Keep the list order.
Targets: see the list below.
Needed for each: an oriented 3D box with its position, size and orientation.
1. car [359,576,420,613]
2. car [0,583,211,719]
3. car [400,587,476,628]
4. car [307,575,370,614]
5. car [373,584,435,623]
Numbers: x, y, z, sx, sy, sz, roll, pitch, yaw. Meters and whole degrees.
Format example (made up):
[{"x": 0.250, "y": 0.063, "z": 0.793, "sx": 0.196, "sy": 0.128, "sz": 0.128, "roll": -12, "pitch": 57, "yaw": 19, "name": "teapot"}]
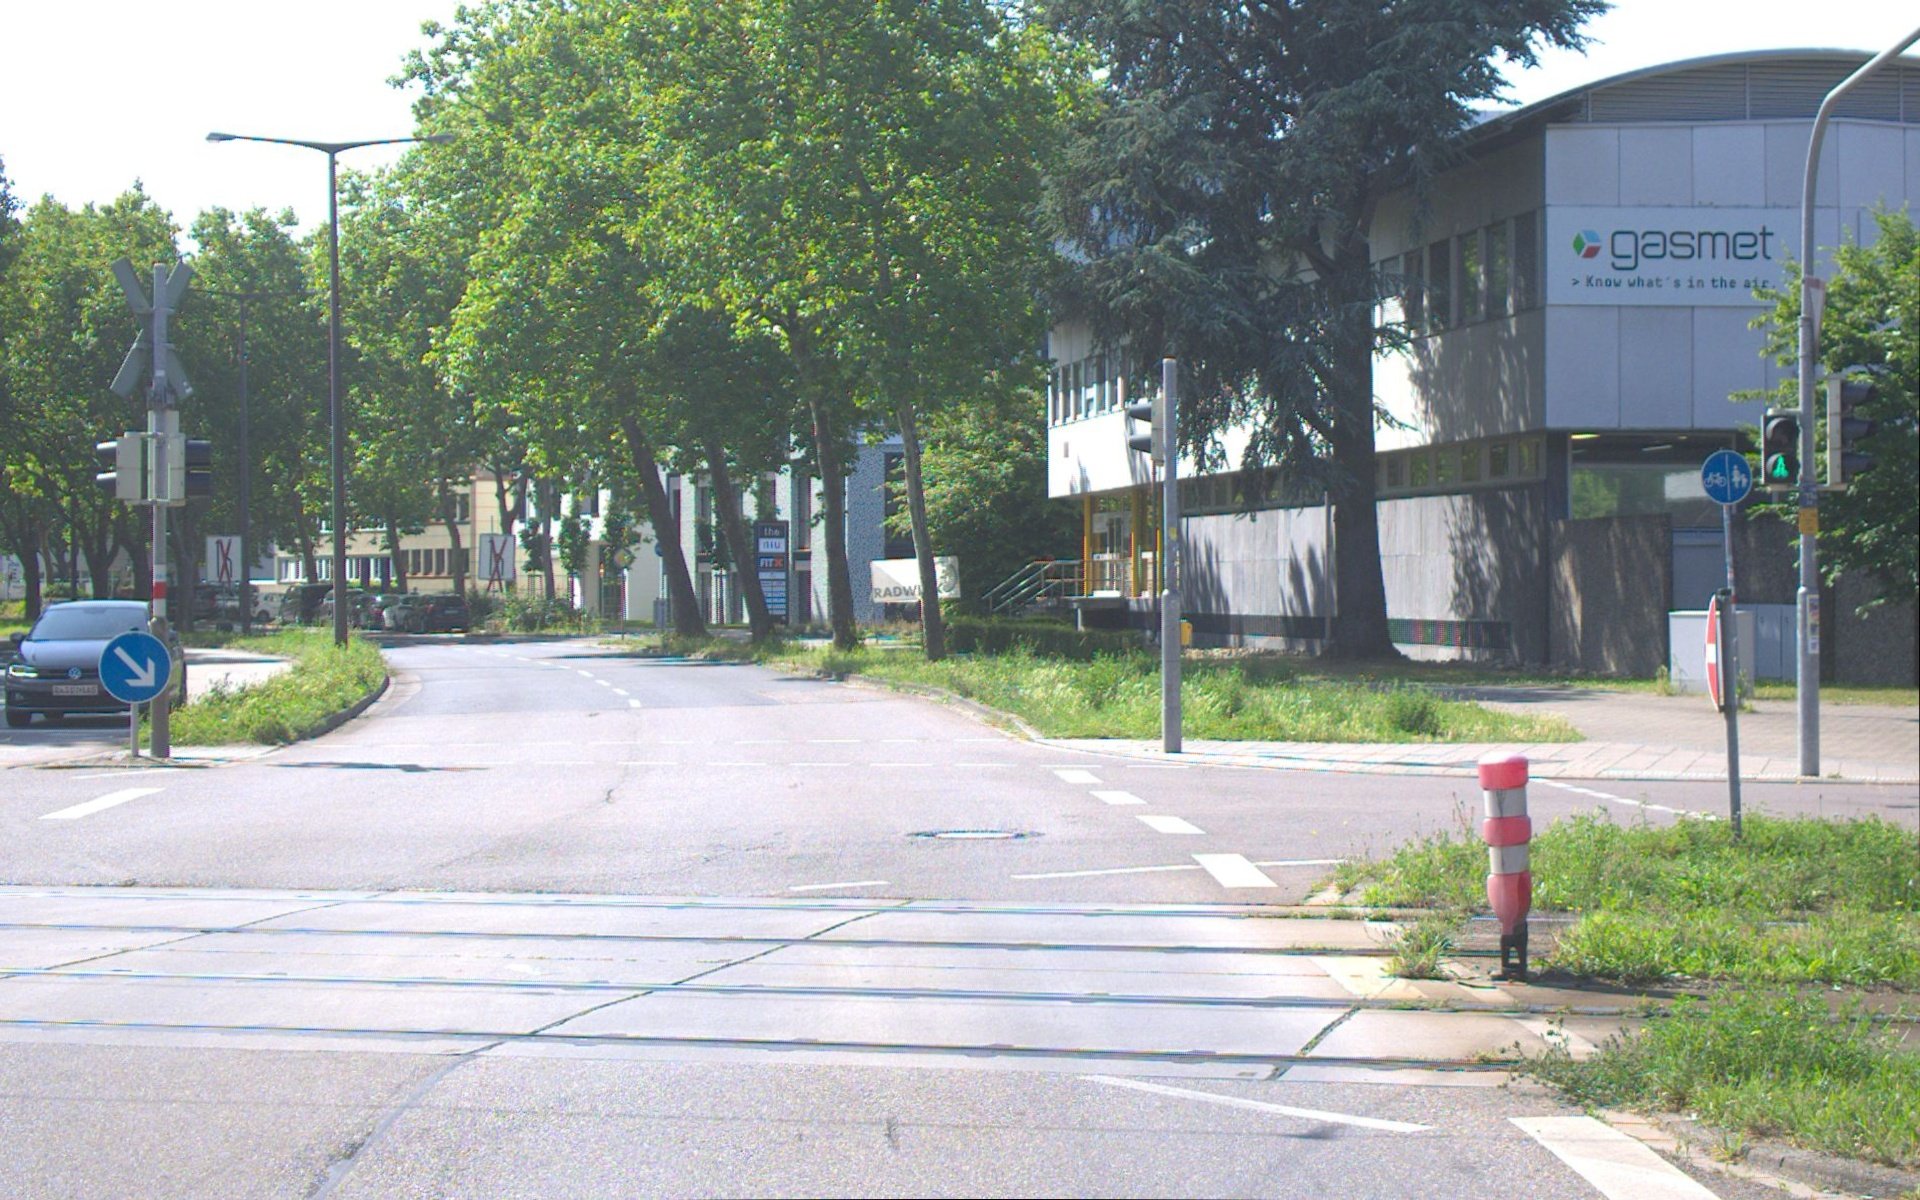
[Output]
[{"x": -23.410, "y": -0.246, "z": 140.940, "sx": 1.706, "sy": 1.450, "sz": 4.657, "roll": -1, "pitch": 1, "yaw": -19, "name": "car"}, {"x": -10.212, "y": 0.565, "z": 40.744, "sx": 1.694, "sy": 1.503, "sz": 4.129, "roll": 0, "pitch": 0, "yaw": 1, "name": "car"}, {"x": -19.906, "y": 0.272, "z": 130.938, "sx": 1.706, "sy": 1.482, "sz": 4.720, "roll": -2, "pitch": 1, "yaw": -23, "name": "car"}, {"x": -27.587, "y": -0.260, "z": 152.404, "sx": 1.706, "sy": 1.664, "sz": 4.534, "roll": -1, "pitch": 1, "yaw": -24, "name": "car"}, {"x": -22.024, "y": 0.142, "z": 136.092, "sx": 1.706, "sy": 1.482, "sz": 4.102, "roll": -1, "pitch": 1, "yaw": -19, "name": "car"}]
